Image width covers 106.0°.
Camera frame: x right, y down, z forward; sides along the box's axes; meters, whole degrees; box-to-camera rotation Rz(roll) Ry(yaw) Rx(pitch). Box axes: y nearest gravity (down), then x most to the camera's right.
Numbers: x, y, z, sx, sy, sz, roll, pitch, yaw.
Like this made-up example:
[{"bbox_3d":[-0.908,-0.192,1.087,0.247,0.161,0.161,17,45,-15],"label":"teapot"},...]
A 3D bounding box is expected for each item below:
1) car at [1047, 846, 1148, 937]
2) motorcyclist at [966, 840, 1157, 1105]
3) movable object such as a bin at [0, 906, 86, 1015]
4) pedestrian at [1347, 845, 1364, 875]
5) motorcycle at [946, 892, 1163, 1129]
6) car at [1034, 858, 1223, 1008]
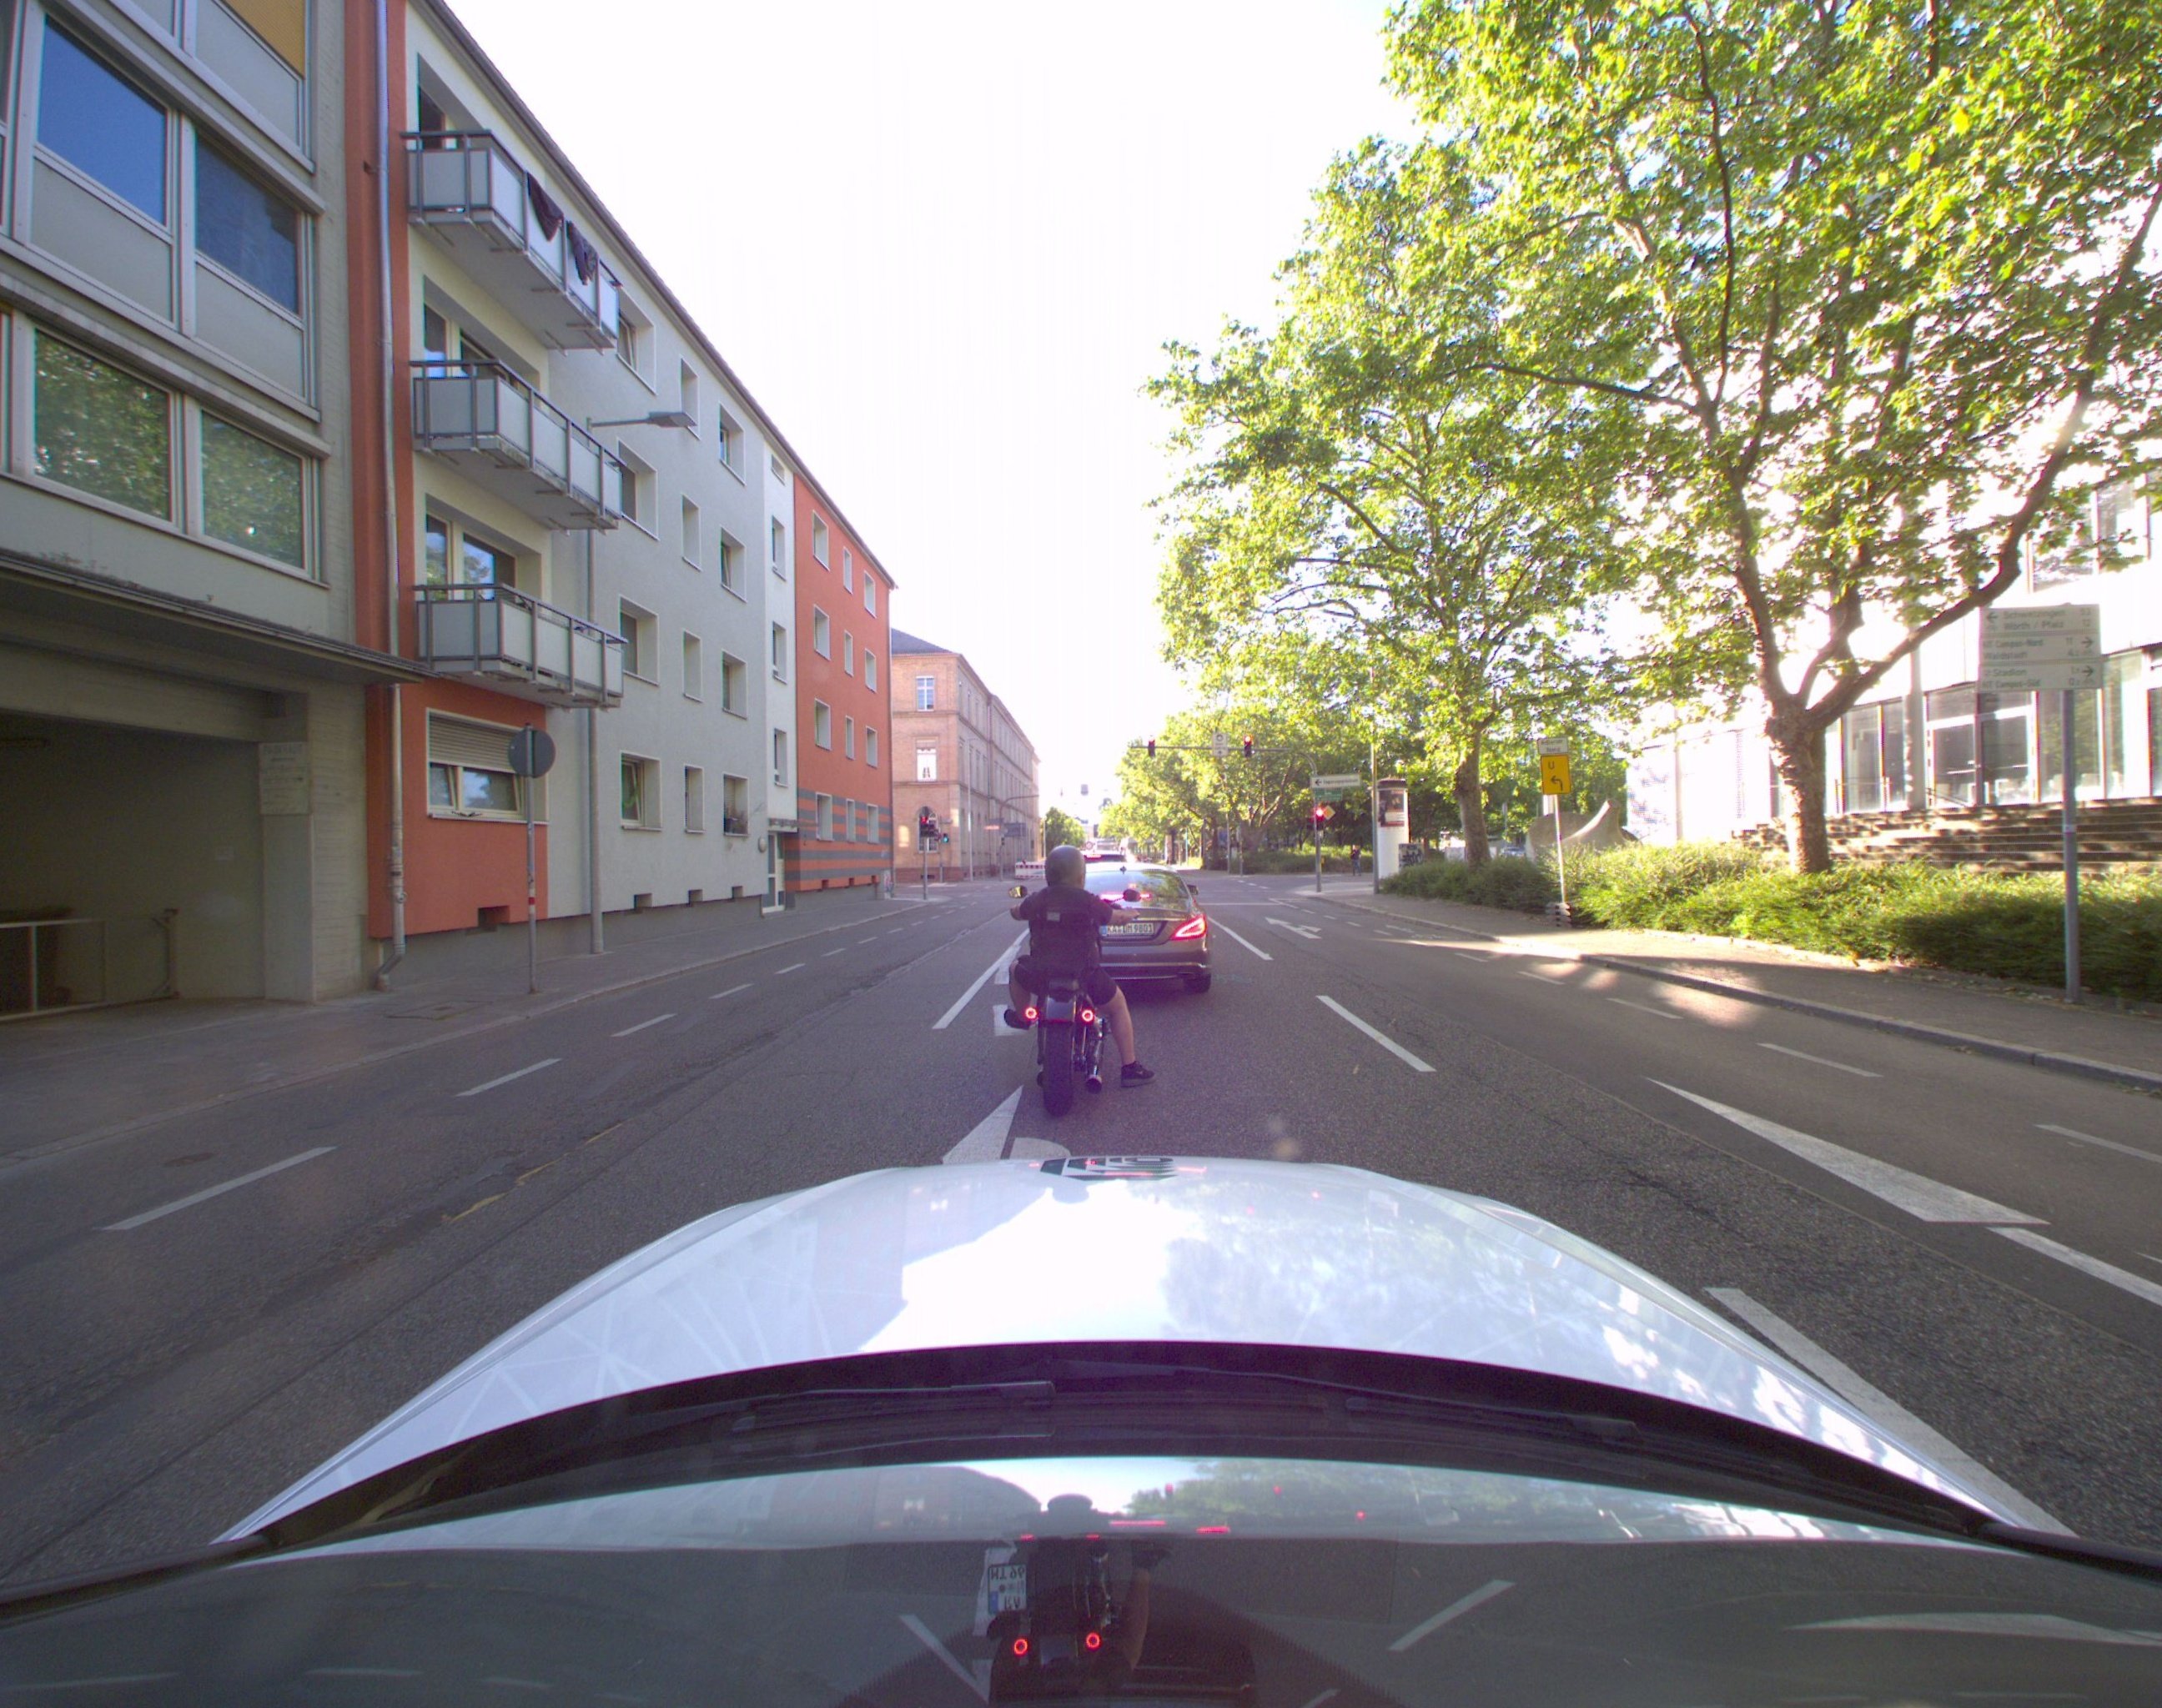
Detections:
[{"bbox_3d":[0.376,0.712,17.070,1.856,1.678,4.001,0,-1,2],"label":"car"},{"bbox_3d":[-0.075,0.705,5.406,1.093,1.566,1.074,0,-1,8],"label":"motorcyclist"},{"bbox_3d":[-11.290,1.114,8.650,0.533,1.079,0.723,0,-1,3],"label":"movable object such as a bin"},{"bbox_3d":[16.257,0.356,48.218,0.734,1.778,0.728,0,-1,-5],"label":"pedestrian"},{"bbox_3d":[-0.047,0.913,5.624,1.111,1.207,2.217,0,-1,8],"label":"motorcycle"},{"bbox_3d":[0.515,0.780,9.781,1.815,1.437,3.807,0,-1,2],"label":"car"}]
